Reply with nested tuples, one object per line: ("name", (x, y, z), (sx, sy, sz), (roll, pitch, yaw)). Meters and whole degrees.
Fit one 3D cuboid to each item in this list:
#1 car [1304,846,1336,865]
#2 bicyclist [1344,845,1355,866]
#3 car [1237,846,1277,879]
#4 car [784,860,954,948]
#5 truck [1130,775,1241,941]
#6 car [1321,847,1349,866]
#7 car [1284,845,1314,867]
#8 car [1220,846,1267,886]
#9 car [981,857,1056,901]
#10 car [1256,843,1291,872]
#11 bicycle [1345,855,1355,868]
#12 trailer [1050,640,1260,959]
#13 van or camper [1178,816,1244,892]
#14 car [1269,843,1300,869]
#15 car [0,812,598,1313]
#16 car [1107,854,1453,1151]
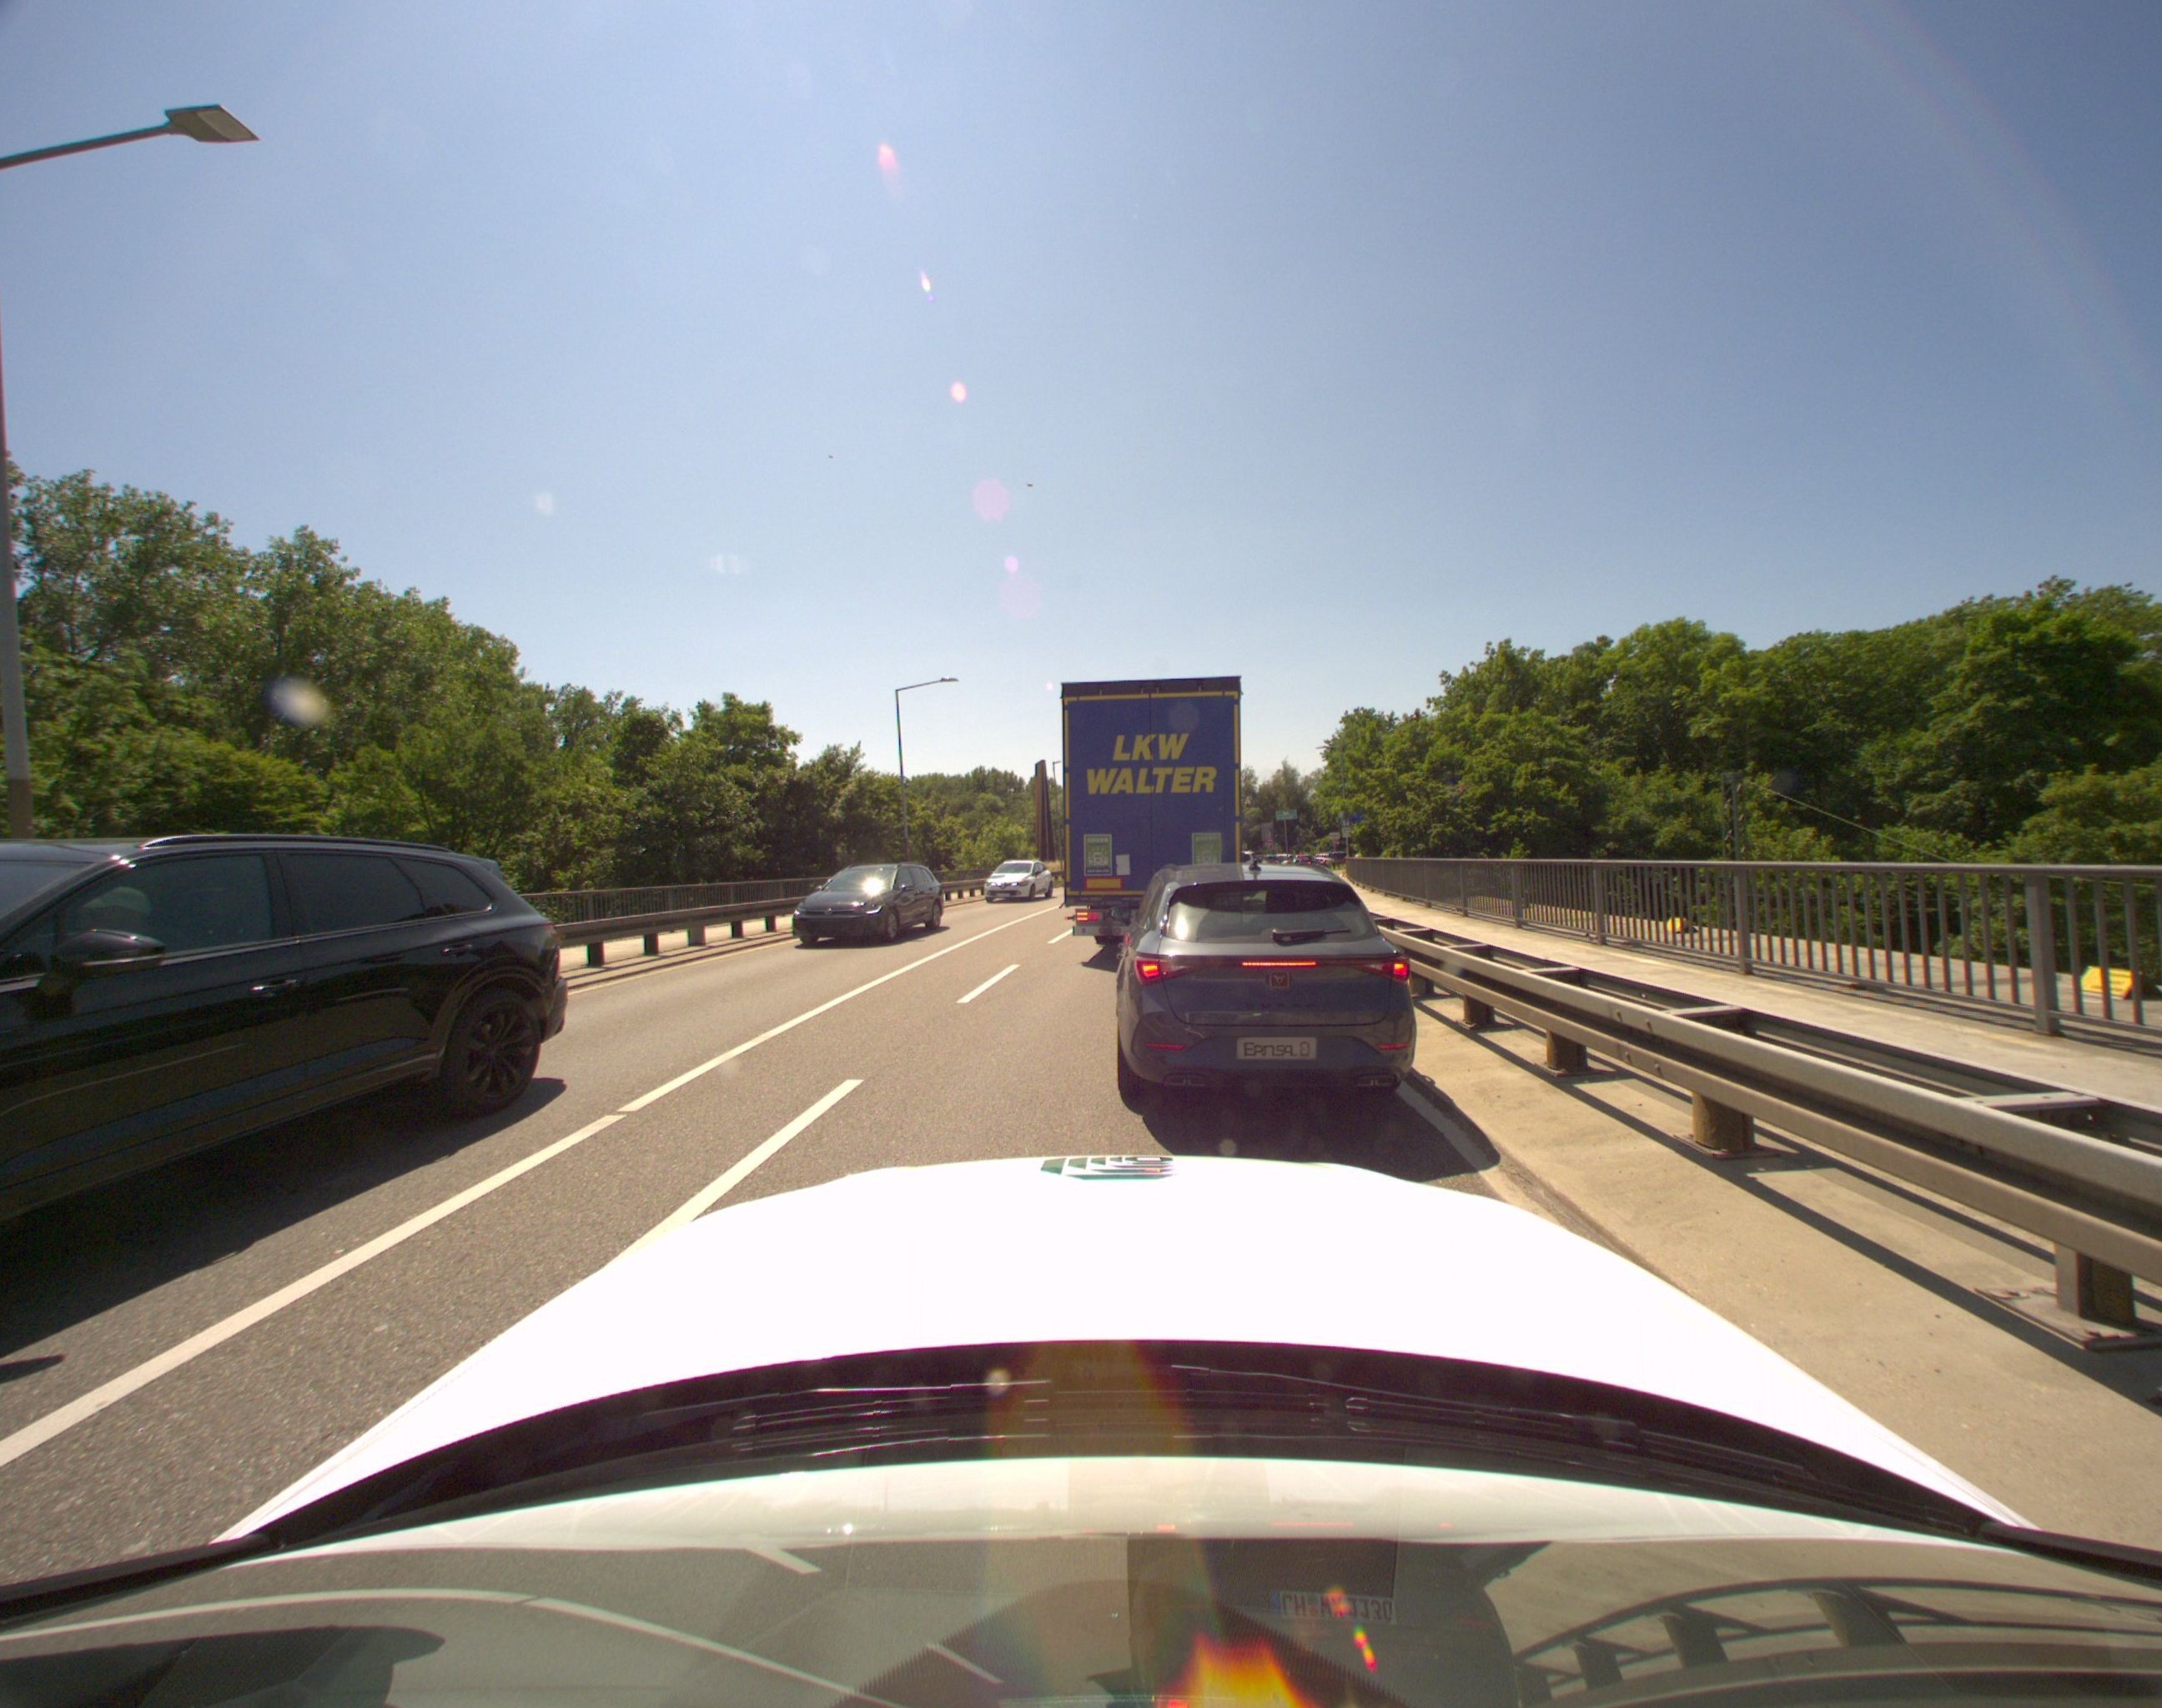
("car", (21.776, 0.158, 74.075), (1.975, 1.575, 4.024), (0, -1, 28))
("bicyclist", (21.762, 0.105, 66.011), (0.574, 1.683, 0.731), (-4, -1, 11))
("car", (10.259, 0.453, 47.214), (1.706, 1.802, 4.020), (-1, 0, 20))
("car", (-4.085, 0.901, 16.558), (1.700, 1.469, 4.470), (-1, 0, 8))
("truck", (3.341, 0.126, 25.106), (2.887, 4.418, 6.573), (-1, 0, 10))
("car", (24.968, 0.236, 79.937), (1.669, 1.760, 4.025), (-2, -1, 30))
("car", (18.216, 0.164, 67.883), (1.670, 1.760, 4.023), (-1, -1, 25))
("car", (8.230, 0.574, 40.939), (1.706, 1.844, 4.020), (-1, 0, 20))
("car", (-2.219, 0.873, 29.930), (1.588, 1.449, 4.070), (-1, 0, 13))
("car", (13.113, 0.204, 55.369), (1.706, 1.844, 4.021), (-1, 0, 21))
("bicycle", (21.792, 0.585, 66.012), (0.578, 1.035, 1.489), (-4, -1, 12))
("trailer", (2.056, -0.756, 17.658), (2.887, 4.418, 12.466), (-1, 0, 10))
("van or camper", (5.493, 0.000, 33.628), (2.139, 2.815, 6.411), (-1, 0, 14))
("car", (15.351, 0.135, 61.296), (1.706, 1.844, 4.021), (-1, 0, 21))
("car", (-4.577, 0.727, 3.617), (1.959, 1.673, 4.615), (-2, 0, 2))
("car", (1.126, 0.751, 6.029), (1.669, 1.456, 3.963), (-1, 0, 4))
